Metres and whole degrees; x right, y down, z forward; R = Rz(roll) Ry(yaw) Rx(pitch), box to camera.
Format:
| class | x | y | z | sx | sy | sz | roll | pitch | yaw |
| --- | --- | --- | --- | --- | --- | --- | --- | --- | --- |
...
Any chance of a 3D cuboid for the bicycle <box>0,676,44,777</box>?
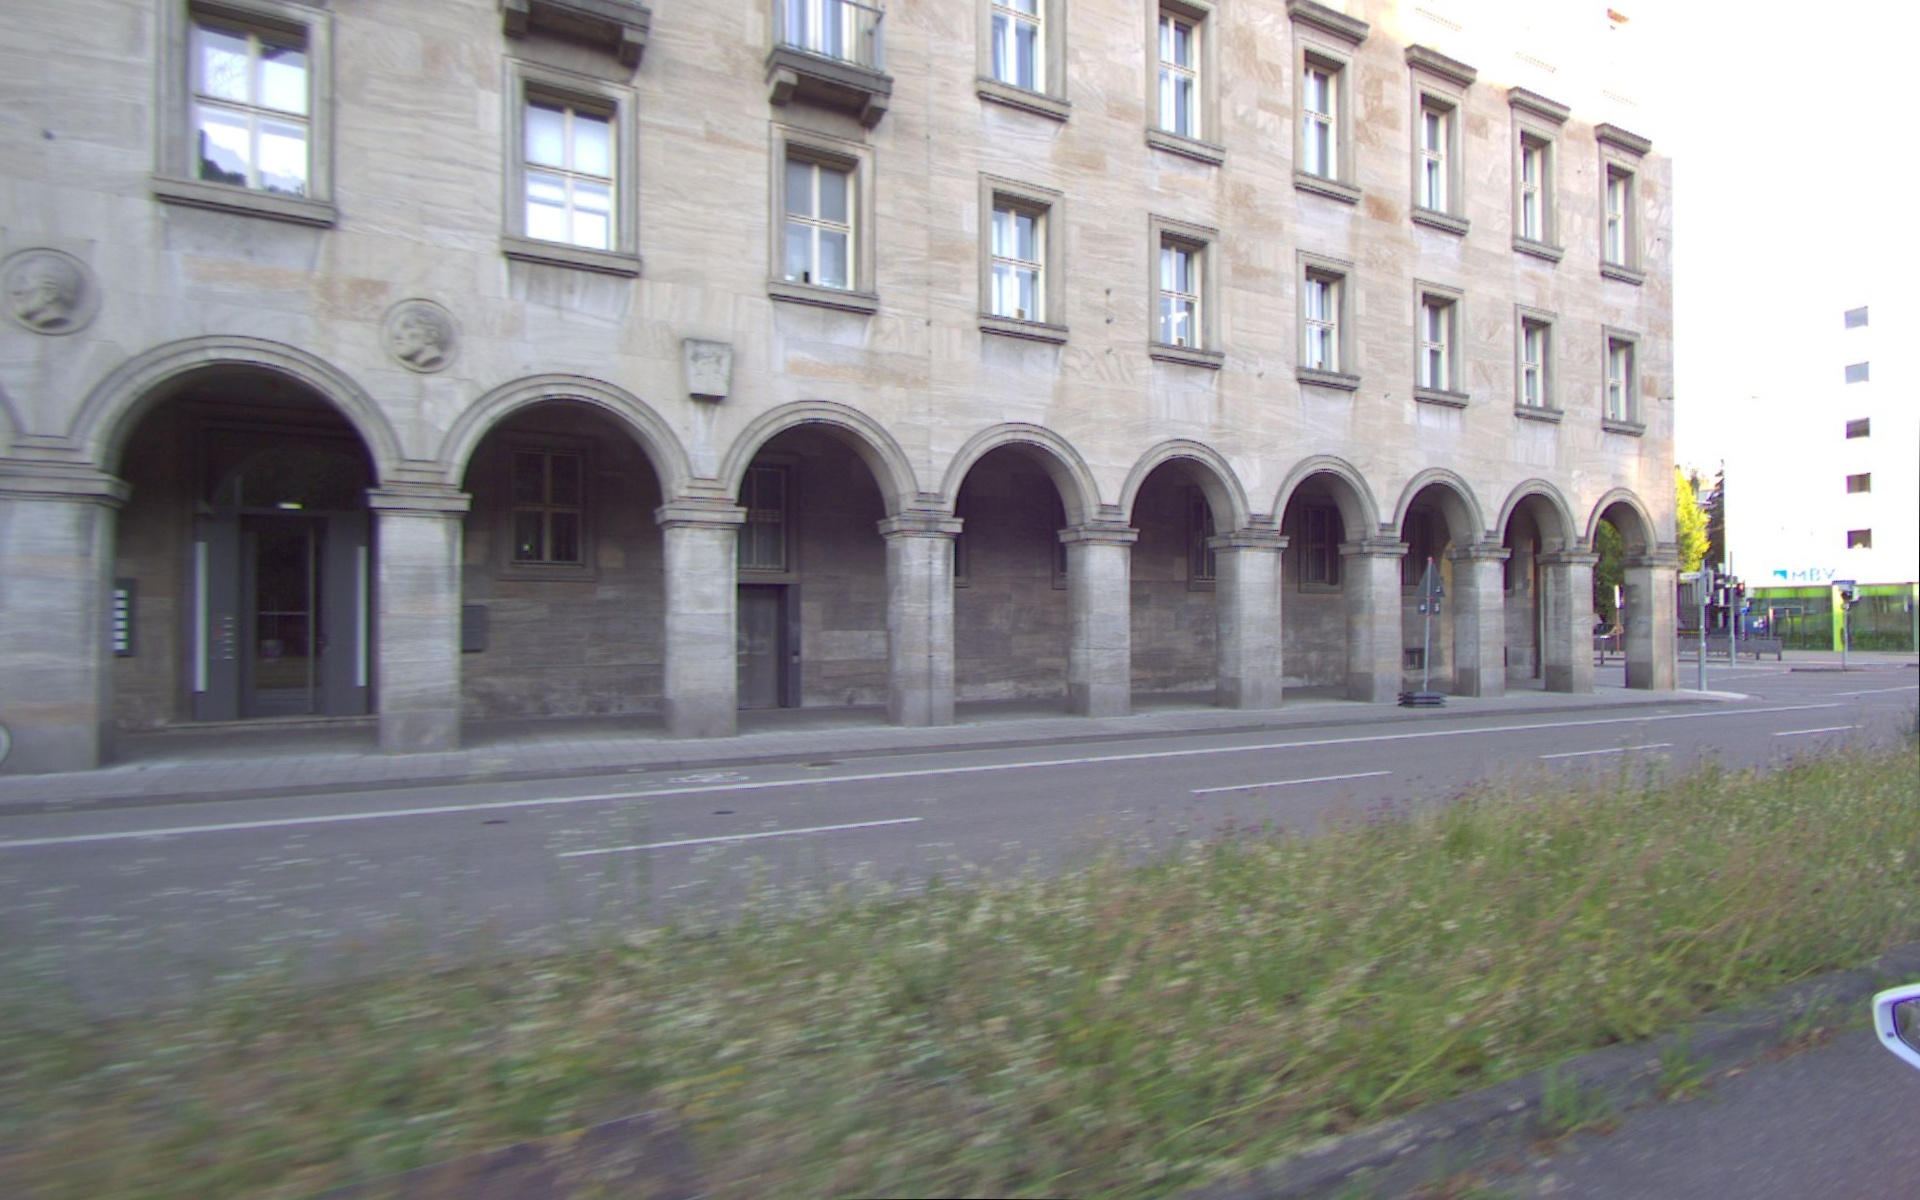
| class | x | y | z | sx | sy | sz | roll | pitch | yaw |
| --- | --- | --- | --- | --- | --- | --- | --- | --- | --- |
| bicycle | -10.883 | 1.331 | 10.723 | 1.964 | 1.019 | 0.479 | 0 | -1 | 8 |

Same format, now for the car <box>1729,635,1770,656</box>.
| class | x | y | z | sx | sy | sz | roll | pitch | yaw |
| --- | --- | --- | --- | --- | --- | --- | --- | --- | --- |
| car | 42.555 | 2.463 | 54.128 | 2.491 | 1.088 | 0.850 | 1 | -2 | -29 |
